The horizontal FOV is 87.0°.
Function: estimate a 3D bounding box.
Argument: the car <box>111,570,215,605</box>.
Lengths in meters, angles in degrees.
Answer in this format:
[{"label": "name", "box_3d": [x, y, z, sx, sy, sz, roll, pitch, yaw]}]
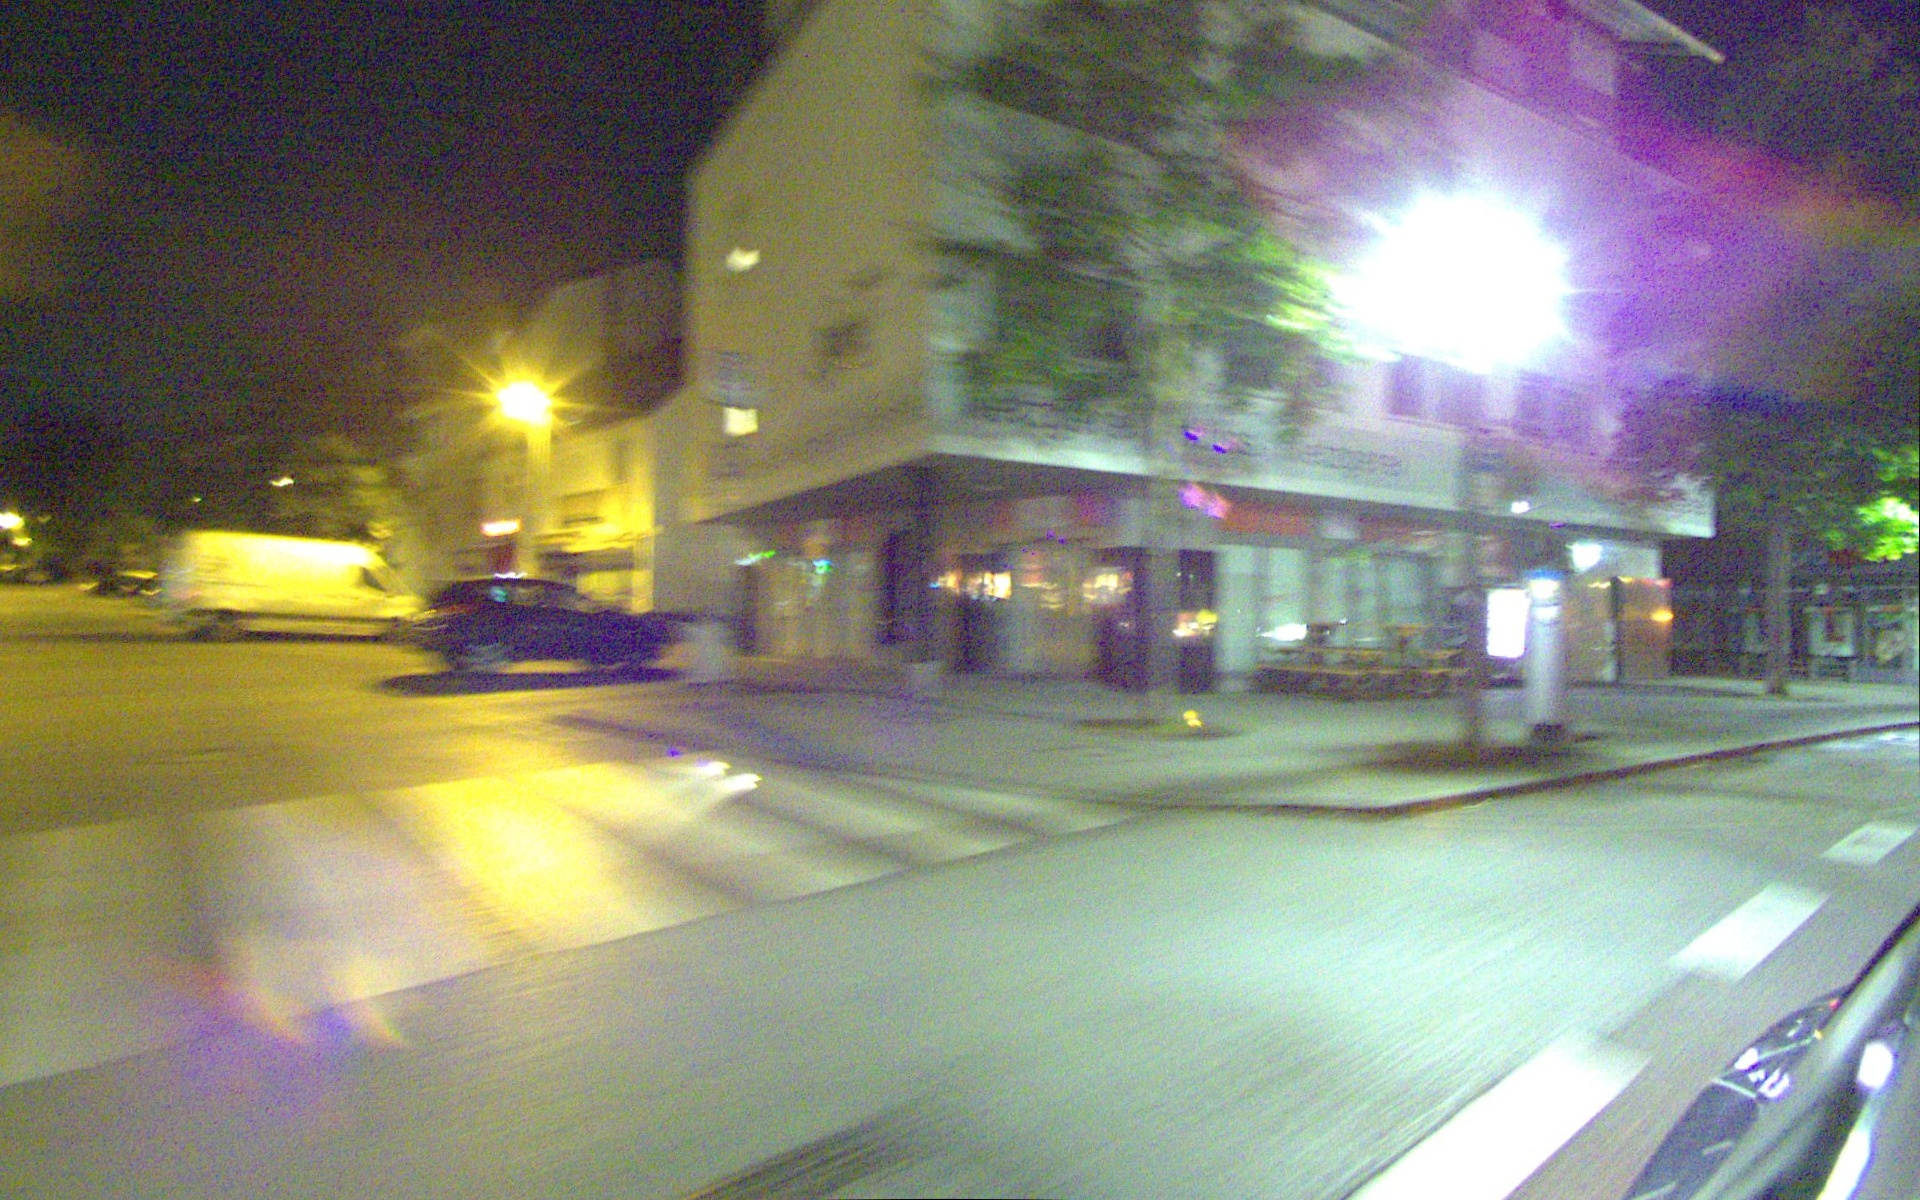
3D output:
[{"label": "car", "box_3d": [-41.892, -0.652, 53.232, 4.139, 1.647, 1.878, 3, -1, -41]}]

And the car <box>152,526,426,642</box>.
[{"label": "car", "box_3d": [-16.970, -0.293, 25.906, 1.990, 2.624, 5.426, 0, -2, 39]}]

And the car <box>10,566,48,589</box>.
[{"label": "car", "box_3d": [-75.641, -1.841, 82.207, 4.199, 1.715, 1.914, 2, -1, 43]}]

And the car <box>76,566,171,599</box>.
[{"label": "car", "box_3d": [-49.071, -1.011, 59.399, 4.142, 1.715, 1.995, 3, -1, -44]}]

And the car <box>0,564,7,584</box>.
[{"label": "car", "box_3d": [-85.295, -2.356, 88.840, 4.193, 1.715, 1.849, 2, -1, 39]}]

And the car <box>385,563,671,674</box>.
[{"label": "car", "box_3d": [-7.466, 0.360, 17.755, 1.994, 1.716, 4.144, 0, -2, 45]}]
